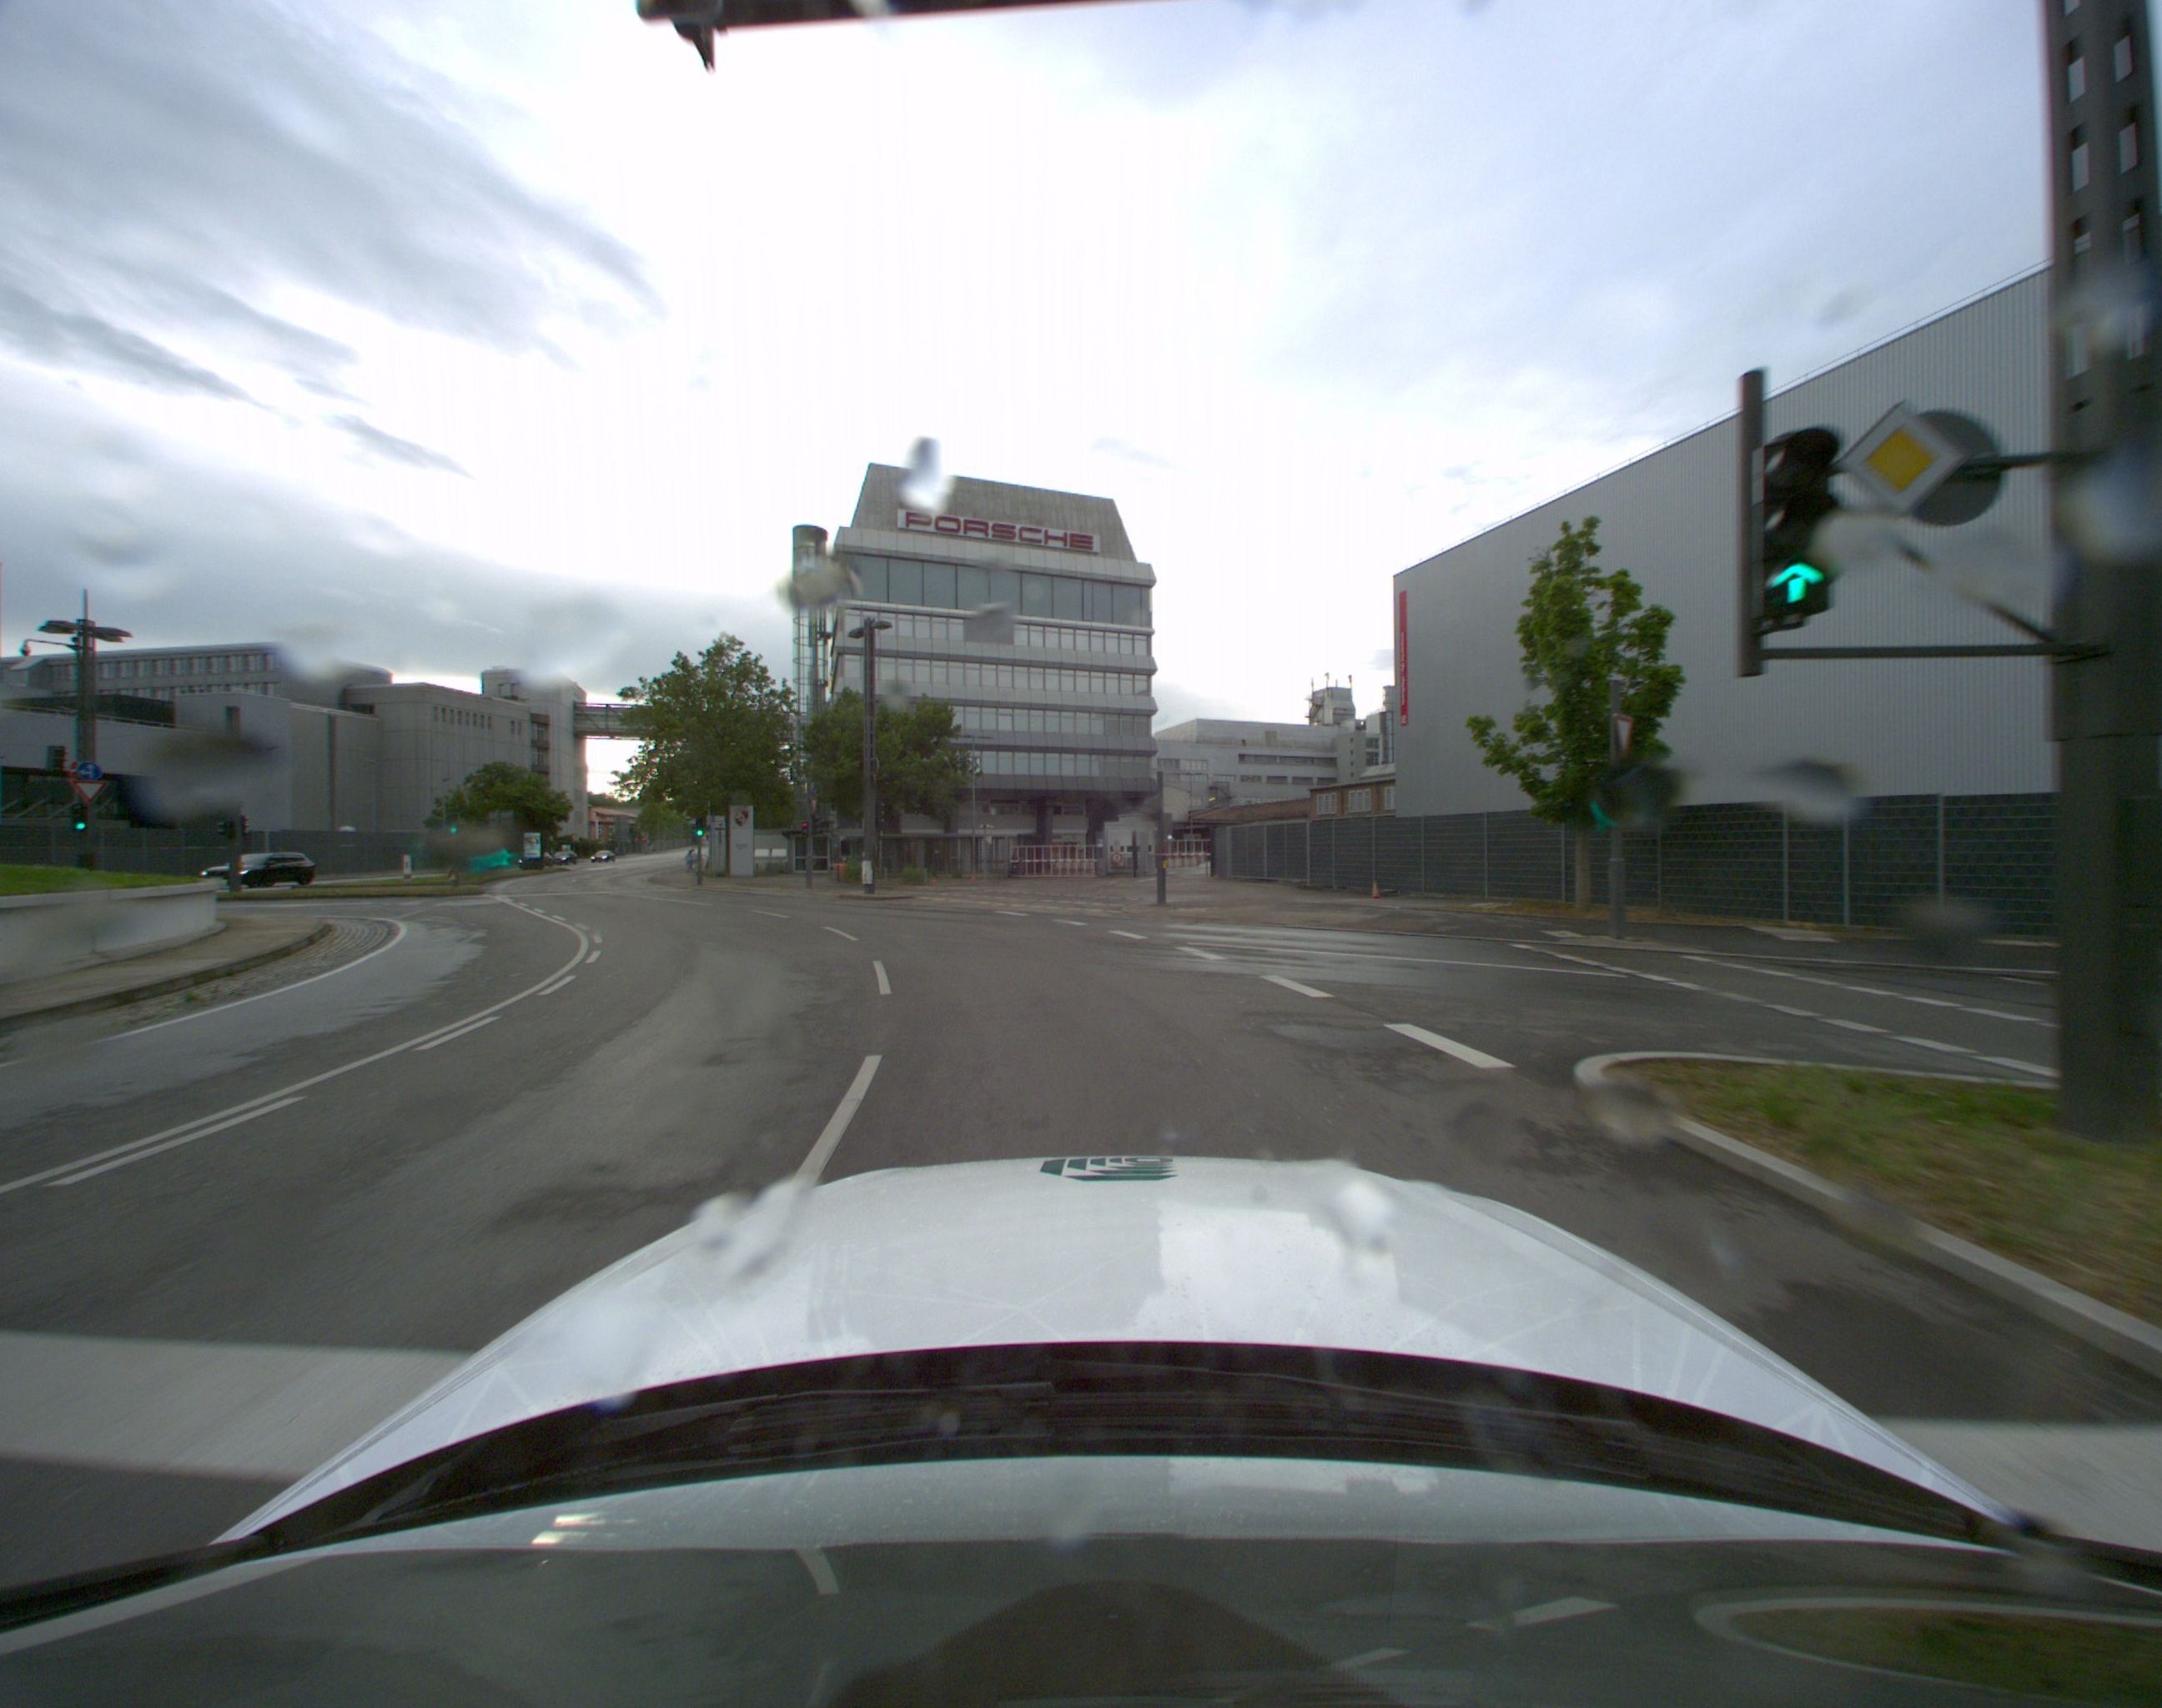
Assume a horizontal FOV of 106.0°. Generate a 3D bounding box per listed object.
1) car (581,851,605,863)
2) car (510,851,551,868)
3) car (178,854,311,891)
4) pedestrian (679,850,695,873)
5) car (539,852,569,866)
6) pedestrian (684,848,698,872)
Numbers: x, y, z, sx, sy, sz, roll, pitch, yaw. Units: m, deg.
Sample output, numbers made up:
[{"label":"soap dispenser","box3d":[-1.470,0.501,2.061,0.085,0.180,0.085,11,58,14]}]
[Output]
[{"label":"car","box3d":[-61.580,0.385,102.823,1.789,1.385,4.516,-3,1,-20]},{"label":"car","box3d":[-48.982,0.492,72.508,1.787,1.440,4.371,-1,1,-17]},{"label":"car","box3d":[-39.384,0.834,38.526,1.780,1.588,4.559,0,1,-5]},{"label":"pedestrian","box3d":[-26.088,0.472,53.914,0.833,1.520,0.837,-1,0,-16]},{"label":"car","box3d":[-58.180,0.547,89.919,1.789,1.454,4.529,-2,1,-21]},{"label":"pedestrian","box3d":[-26.739,0.406,55.809,0.710,1.592,0.836,-1,0,-16]}]
